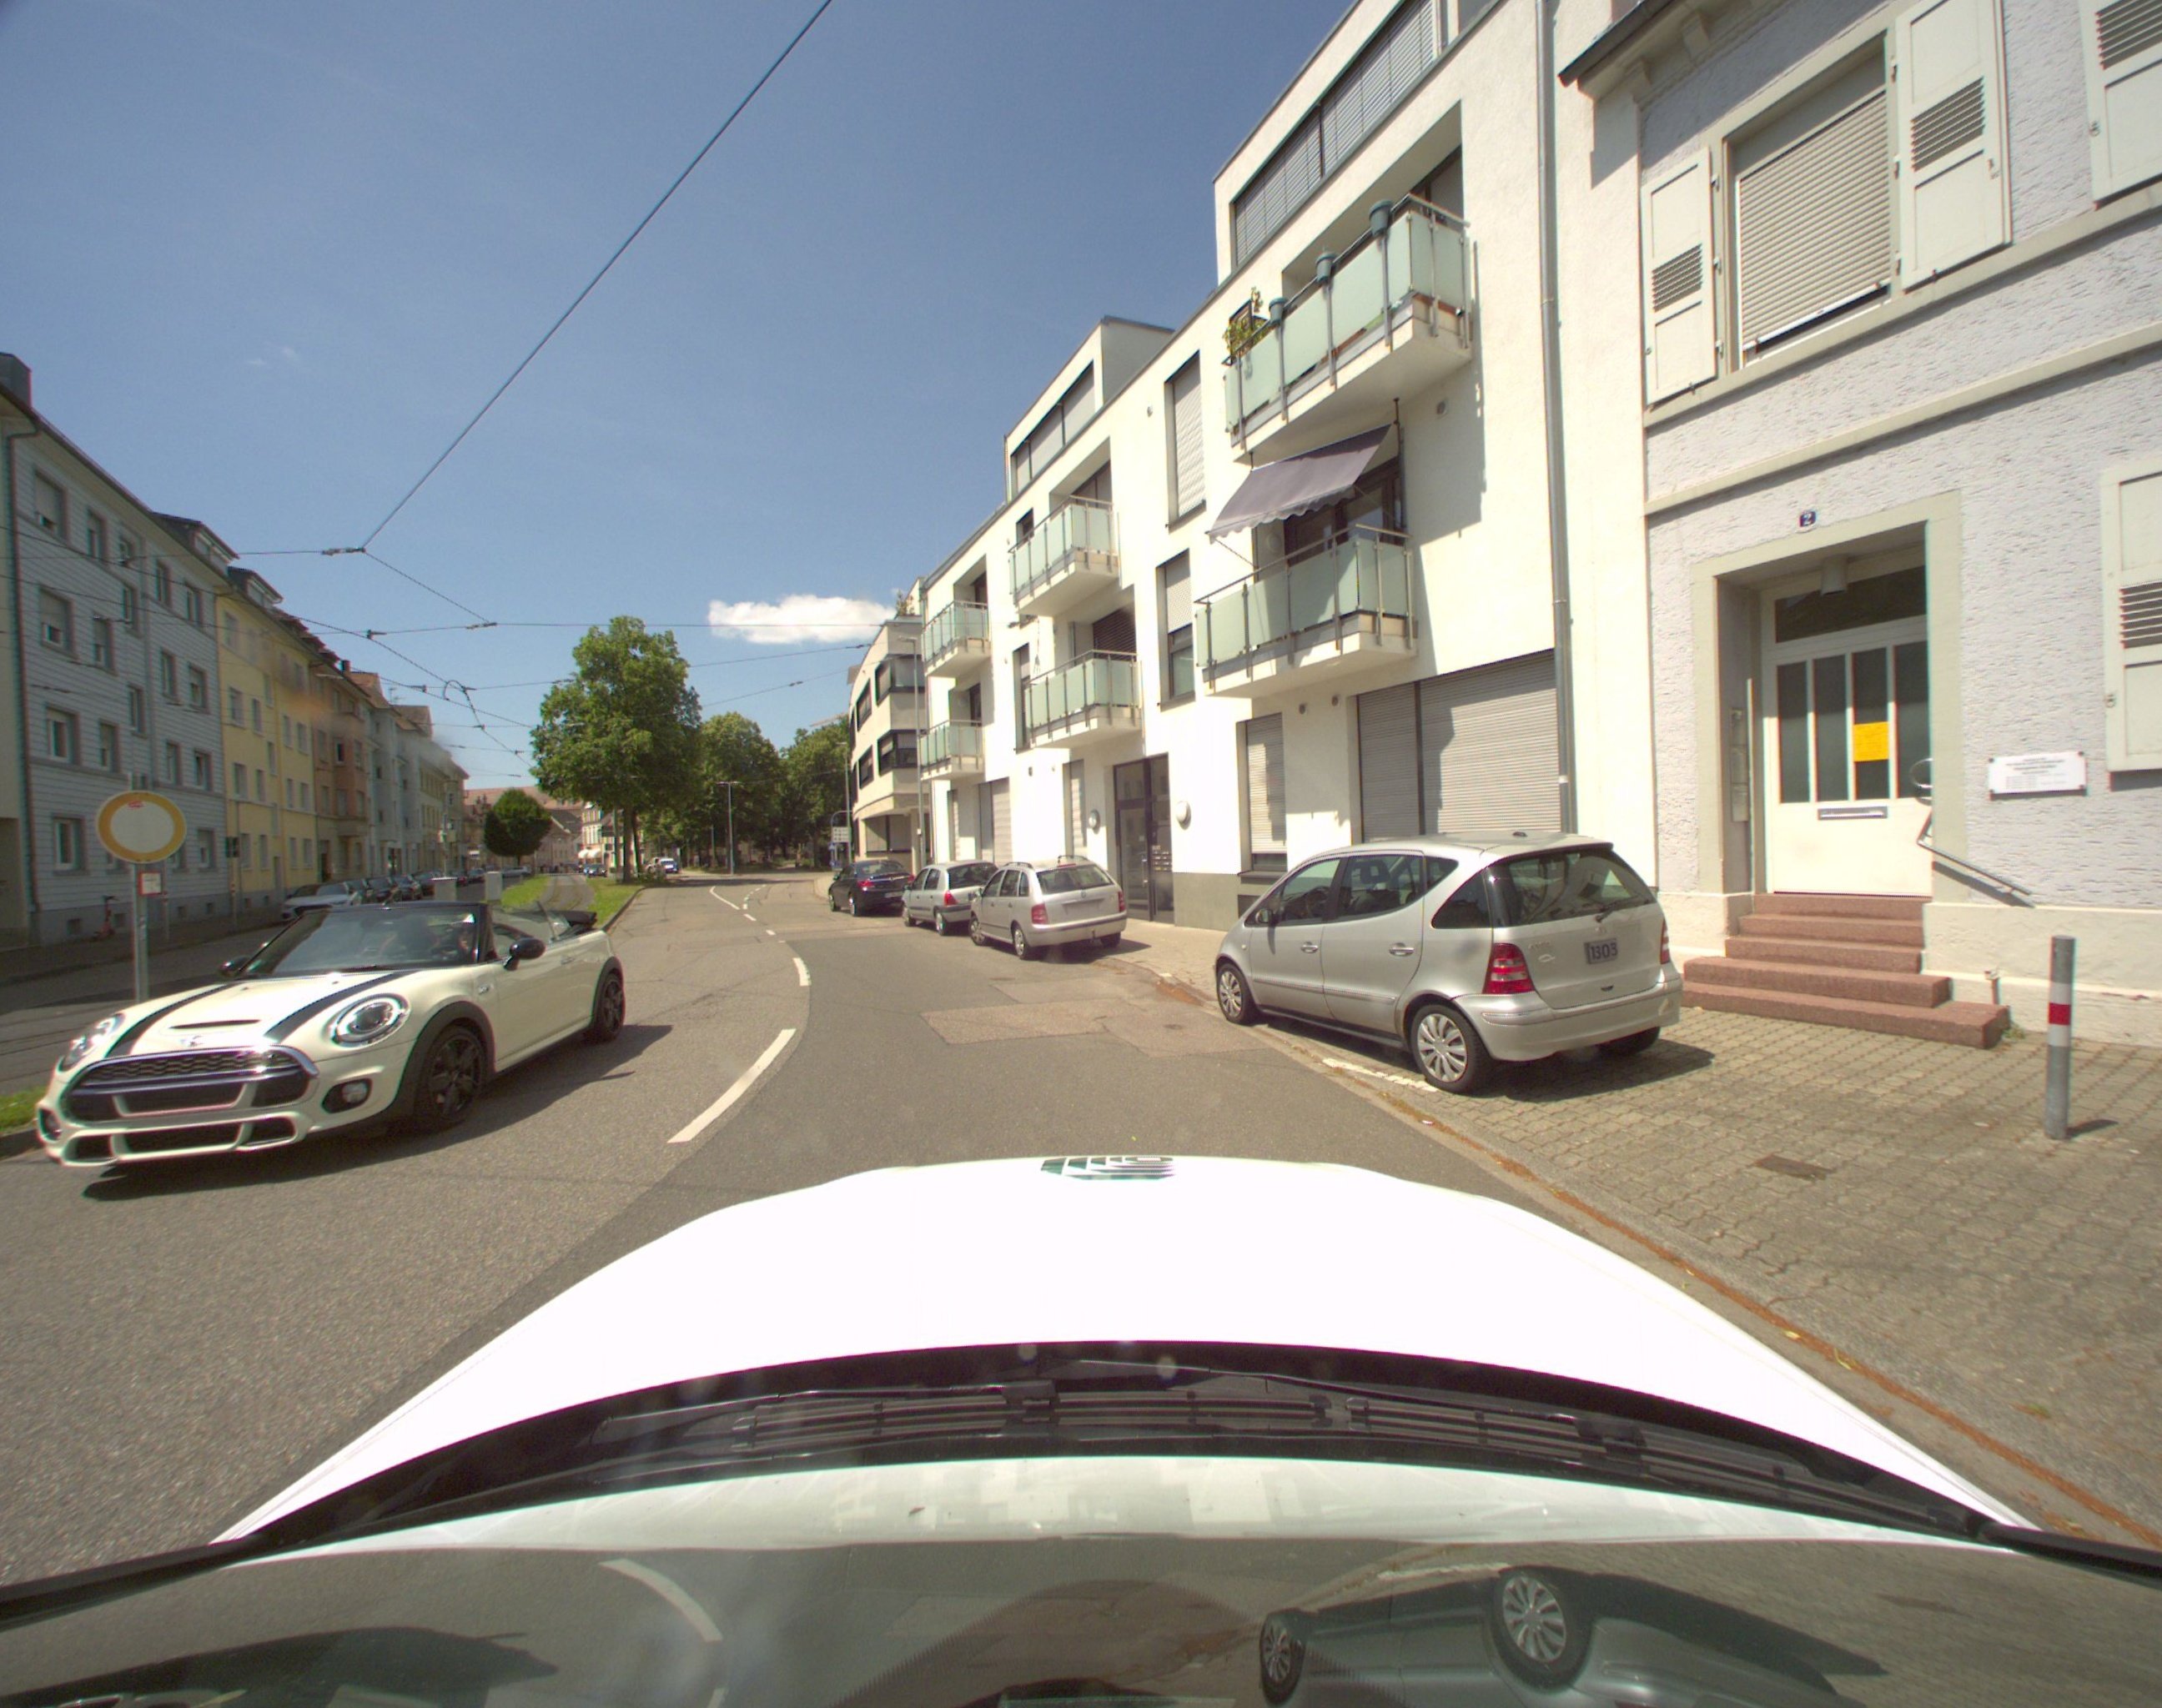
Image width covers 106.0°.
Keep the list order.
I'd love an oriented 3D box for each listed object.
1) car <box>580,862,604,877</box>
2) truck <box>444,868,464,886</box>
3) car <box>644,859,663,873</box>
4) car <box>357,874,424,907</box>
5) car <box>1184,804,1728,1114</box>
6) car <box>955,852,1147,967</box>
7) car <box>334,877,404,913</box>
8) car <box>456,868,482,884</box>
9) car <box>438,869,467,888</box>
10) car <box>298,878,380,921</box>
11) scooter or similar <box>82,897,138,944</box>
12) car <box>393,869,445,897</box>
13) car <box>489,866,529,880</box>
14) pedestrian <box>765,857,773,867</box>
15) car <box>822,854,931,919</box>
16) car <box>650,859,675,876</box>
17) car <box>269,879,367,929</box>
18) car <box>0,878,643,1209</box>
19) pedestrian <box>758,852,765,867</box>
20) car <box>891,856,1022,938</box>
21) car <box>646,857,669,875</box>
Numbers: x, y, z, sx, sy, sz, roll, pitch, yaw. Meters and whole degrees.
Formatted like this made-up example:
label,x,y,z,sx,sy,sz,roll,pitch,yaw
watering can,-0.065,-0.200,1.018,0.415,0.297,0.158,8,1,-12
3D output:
label,x,y,z,sx,sy,sz,roll,pitch,yaw
car,-52.564,1.673,87.443,1.918,1.534,4.198,-1,0,-35
truck,-55.698,2.035,72.344,1.134,1.494,2.567,-4,2,-34
car,-53.813,1.497,102.400,1.795,1.624,4.441,-2,1,-31
car,-36.725,1.885,43.446,1.941,1.397,4.814,-4,2,-32
car,2.536,0.586,6.554,1.733,1.610,3.774,-5,1,-20
car,-0.665,0.787,13.513,1.735,1.432,4.011,-6,2,-23
car,-33.867,1.893,38.837,1.844,1.400,4.100,-4,2,-32
car,-61.286,2.170,81.548,1.698,1.360,3.818,-4,2,-33
car,-53.154,2.037,68.915,1.582,1.451,3.588,-4,2,-33
car,-31.457,1.872,34.639,1.942,1.504,4.279,-4,2,-35
scooter or similar,-27.526,1.869,23.104,0.642,1.223,1.307,-1,-1,-32
car,-42.155,1.825,51.953,1.941,1.490,4.813,-4,2,-33
car,-75.826,2.455,107.908,4.236,1.504,1.982,-5,2,-37
pedestrian,-40.639,0.994,106.025,0.908,1.252,1.141,-2,2,-17
car,-6.011,0.875,23.505,1.811,1.509,4.504,-7,2,-29
car,-45.629,1.436,88.714,2.008,1.826,4.376,-2,1,-33
car,-28.288,1.790,30.352,1.942,1.451,4.329,-5,3,-35
car,-4.863,0.986,5.993,1.774,1.464,3.733,-3,0,-11
pedestrian,-41.435,0.701,105.741,0.750,1.910,0.680,-2,2,-18
car,-2.814,0.856,17.742,1.602,1.432,3.673,-7,2,-27
car,-49.956,1.357,95.952,2.063,2.002,5.196,-2,1,-31
